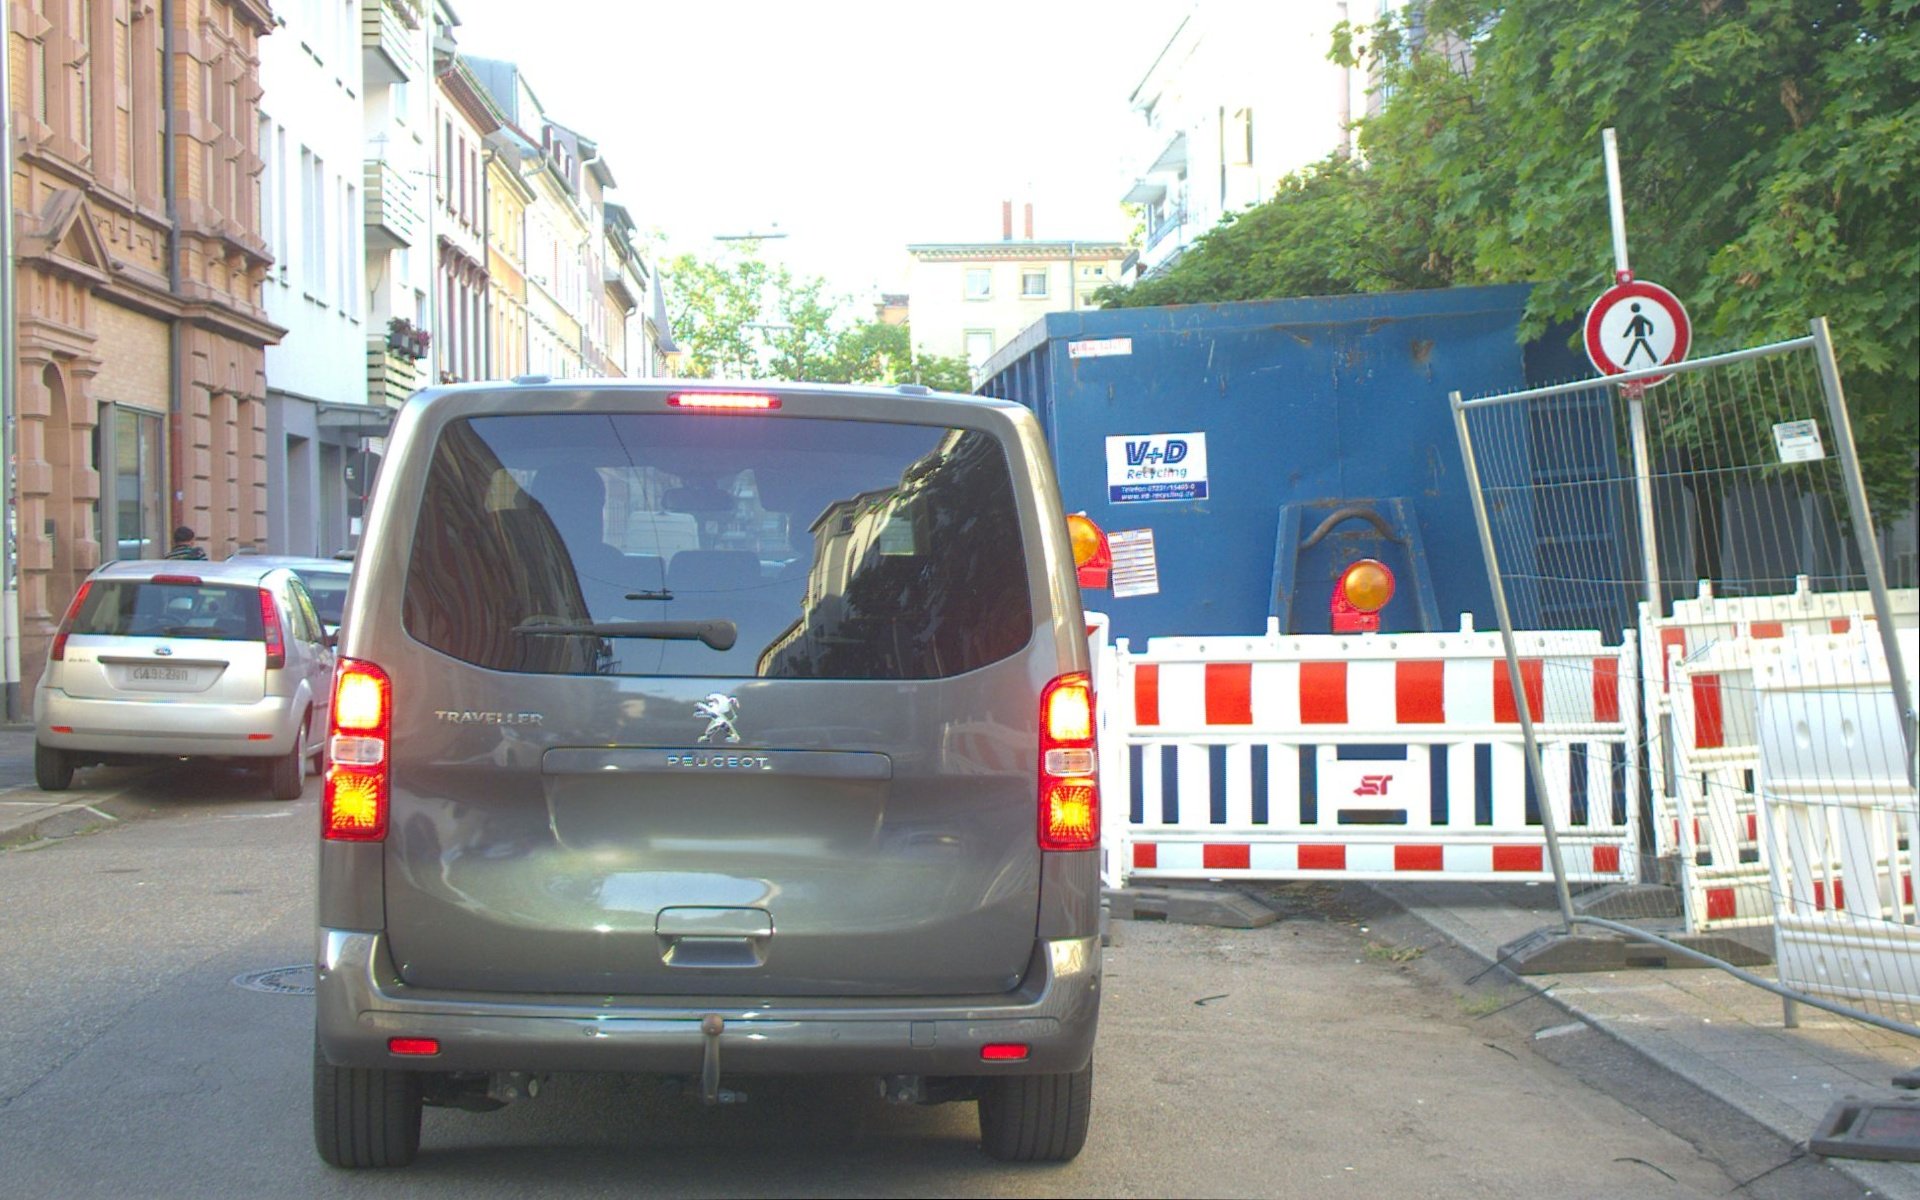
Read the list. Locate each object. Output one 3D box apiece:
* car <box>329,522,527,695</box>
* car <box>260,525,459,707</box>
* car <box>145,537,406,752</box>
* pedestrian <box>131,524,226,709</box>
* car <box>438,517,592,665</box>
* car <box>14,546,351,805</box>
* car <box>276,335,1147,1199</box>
[{"bbox_3d":[-5.889,0.078,38.451,1.891,1.714,3.755,4,0,-6],"label":"car"},{"bbox_3d":[-6.033,0.145,34.808,1.666,1.660,3.092,4,0,-6],"label":"car"},{"bbox_3d":[-5.453,0.329,27.719,1.656,1.520,3.418,4,0,-6],"label":"car"},{"bbox_3d":[-7.127,0.140,31.380,0.740,1.659,0.704,-1,1,-7],"label":"pedestrian"},{"bbox_3d":[-6.143,-0.138,47.816,1.891,1.840,4.350,4,0,-6],"label":"car"},{"bbox_3d":[-4.979,0.445,22.405,1.656,1.455,3.418,4,0,-6],"label":"car"},{"bbox_3d":[-0.739,0.364,9.491,1.865,1.880,4.236,0,0,-6],"label":"car"}]
